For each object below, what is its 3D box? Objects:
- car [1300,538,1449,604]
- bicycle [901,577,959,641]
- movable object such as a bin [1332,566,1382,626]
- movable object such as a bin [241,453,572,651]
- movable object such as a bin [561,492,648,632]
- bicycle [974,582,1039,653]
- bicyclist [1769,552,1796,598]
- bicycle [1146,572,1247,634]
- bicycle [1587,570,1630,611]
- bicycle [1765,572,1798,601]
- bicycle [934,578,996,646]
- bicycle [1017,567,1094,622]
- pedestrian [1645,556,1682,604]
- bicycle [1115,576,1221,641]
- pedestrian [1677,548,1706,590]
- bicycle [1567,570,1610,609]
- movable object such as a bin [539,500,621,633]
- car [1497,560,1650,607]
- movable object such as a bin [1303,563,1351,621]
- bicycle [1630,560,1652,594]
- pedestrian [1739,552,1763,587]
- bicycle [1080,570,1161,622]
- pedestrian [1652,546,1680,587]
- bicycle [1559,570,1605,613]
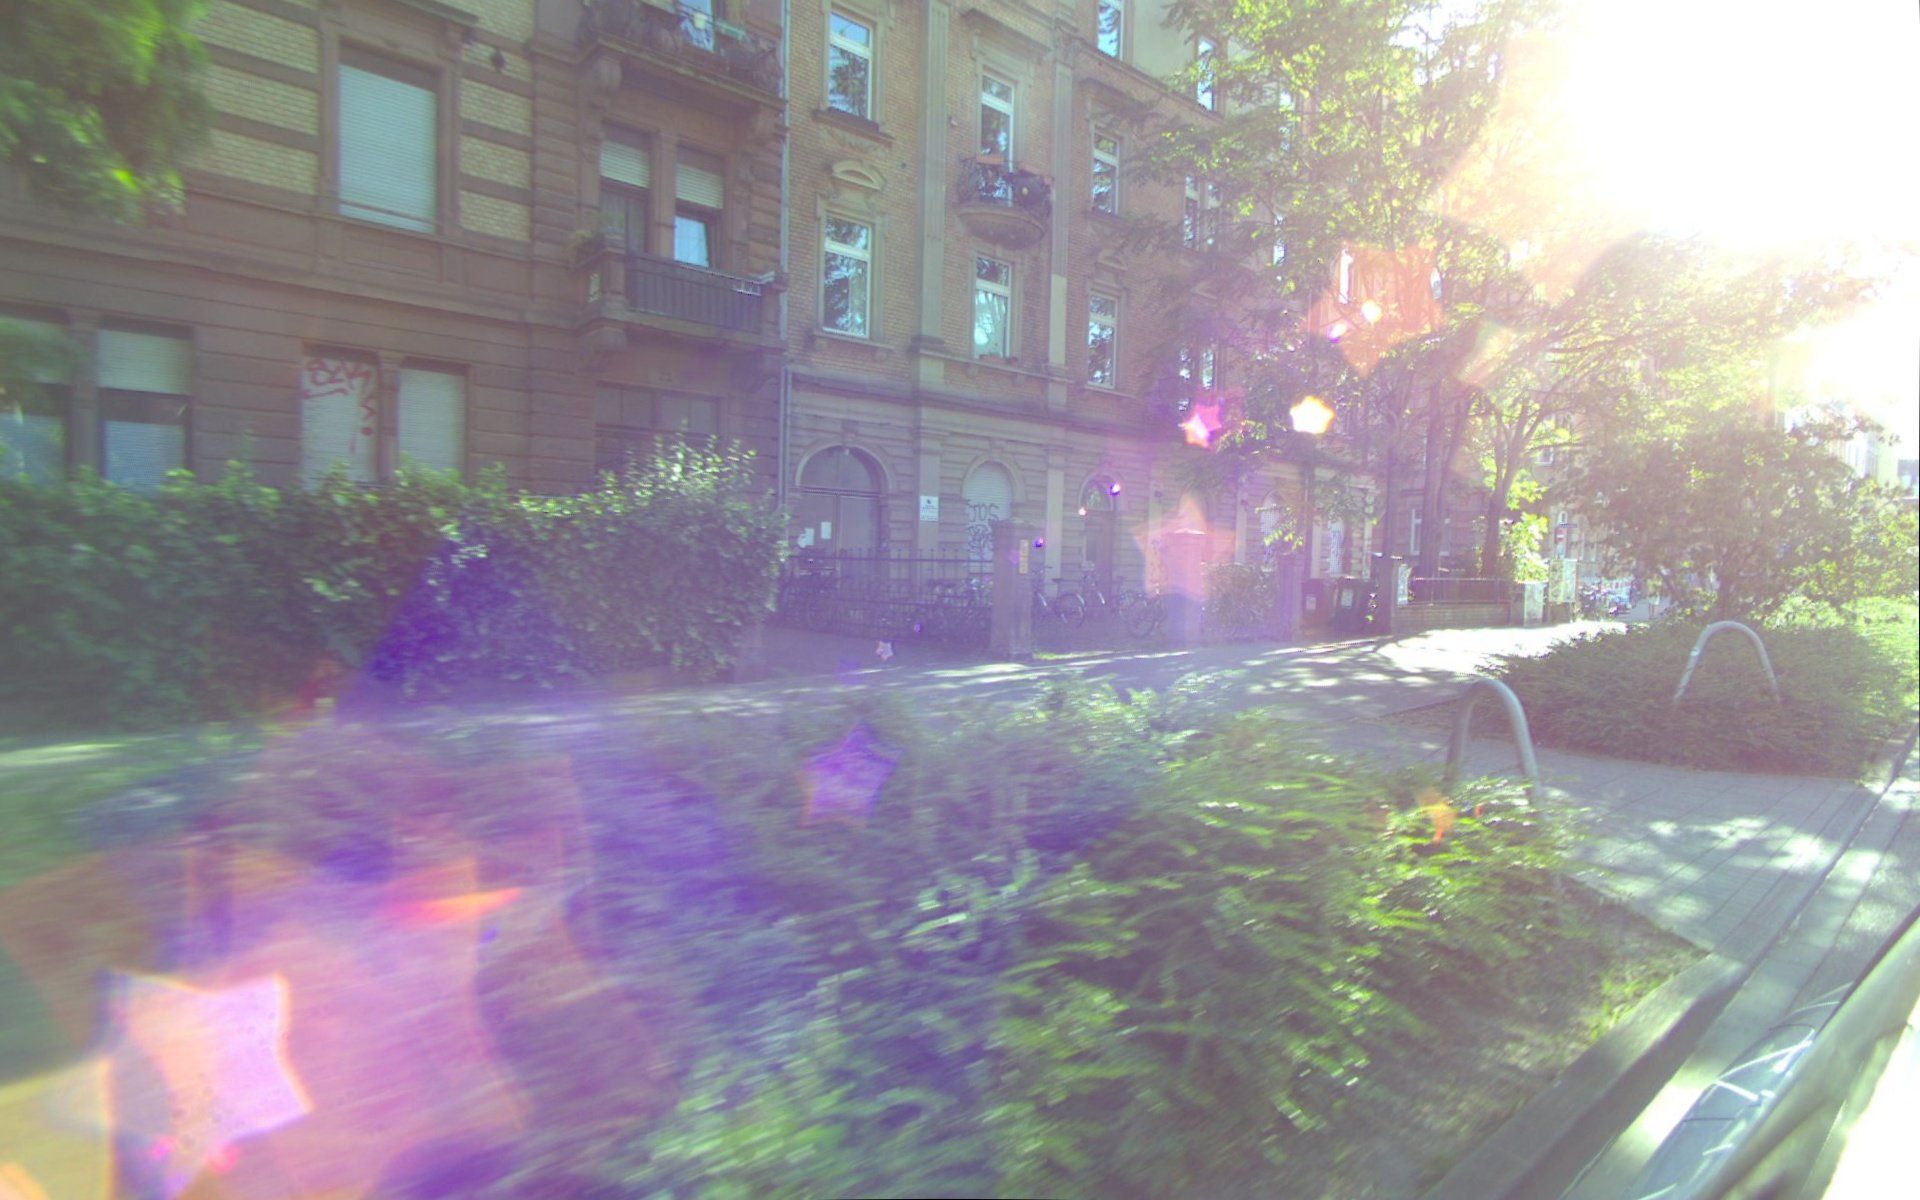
[{"bbox_3d":[14.752,-1.051,36.178,1.745,2.151,4.584,2,0,-42],"label":"car"},{"bbox_3d":[-0.439,0.125,14.492,0.369,0.864,0.769,3,2,-43],"label":"bicycle"},{"bbox_3d":[7.750,-0.089,19.754,0.641,1.071,0.598,-4,9,-41],"label":"movable object such as a bin"},{"bbox_3d":[-6.481,-0.562,11.993,3.176,2.020,1.548,-1,4,-42],"label":"movable object such as a bin"},{"bbox_3d":[-4.548,-0.478,12.943,0.730,1.714,0.755,3,1,-43],"label":"movable object such as a bin"},{"bbox_3d":[0.610,0.220,13.296,0.369,0.864,0.769,3,2,-43],"label":"bicycle"},{"bbox_3d":[33.392,-1.028,41.083,1.034,1.836,0.642,-2,5,-42],"label":"bicyclist"},{"bbox_3d":[4.012,0.034,17.247,0.529,0.936,1.657,3,2,-39],"label":"bicycle"},{"bbox_3d":[18.584,-0.262,28.979,1.789,1.061,0.519,2,1,-42],"label":"bicycle"},{"bbox_3d":[33.368,-0.552,41.101,2.320,1.060,0.642,-3,5,-42],"label":"bicycle"},{"bbox_3d":[0.063,0.157,13.882,0.369,0.864,0.769,3,2,-43],"label":"bicycle"},{"bbox_3d":[1.772,-0.121,19.072,0.434,0.936,1.601,3,2,-37],"label":"bicycle"},{"bbox_3d":[23.237,-0.676,33.439,0.649,1.553,0.703,1,2,0],"label":"pedestrian"},{"bbox_3d":[3.333,0.121,16.334,0.529,0.936,1.657,3,2,-39],"label":"bicycle"},{"bbox_3d":[34.727,-1.484,48.034,1.117,1.953,0.824,-1,3,-41],"label":"pedestrian"},{"bbox_3d":[18.252,-0.294,29.368,1.789,1.061,0.519,2,1,-42],"label":"bicycle"},{"bbox_3d":[-5.086,-0.445,13.541,0.730,1.714,0.755,3,1,-43],"label":"movable object such as a bin"},{"bbox_3d":[21.631,-0.616,35.828,1.781,1.433,4.260,2,1,-41],"label":"car"},{"bbox_3d":[7.341,-0.165,20.222,0.641,1.071,0.598,-4,9,-41],"label":"movable object such as a bin"},{"bbox_3d":[26.693,-0.926,39.647,0.488,1.253,1.863,4,5,39],"label":"bicycle"},{"bbox_3d":[45.042,-1.731,57.646,1.117,1.953,0.823,-1,3,-41],"label":"pedestrian"},{"bbox_3d":[3.197,-0.094,20.267,0.434,0.936,1.736,3,2,-37],"label":"bicycle"},{"bbox_3d":[34.064,-1.639,48.845,1.117,1.953,0.824,-1,3,-41],"label":"pedestrian"},{"bbox_3d":[15.854,-0.208,25.772,1.693,1.000,0.526,2,1,-43],"label":"bicycle"}]
